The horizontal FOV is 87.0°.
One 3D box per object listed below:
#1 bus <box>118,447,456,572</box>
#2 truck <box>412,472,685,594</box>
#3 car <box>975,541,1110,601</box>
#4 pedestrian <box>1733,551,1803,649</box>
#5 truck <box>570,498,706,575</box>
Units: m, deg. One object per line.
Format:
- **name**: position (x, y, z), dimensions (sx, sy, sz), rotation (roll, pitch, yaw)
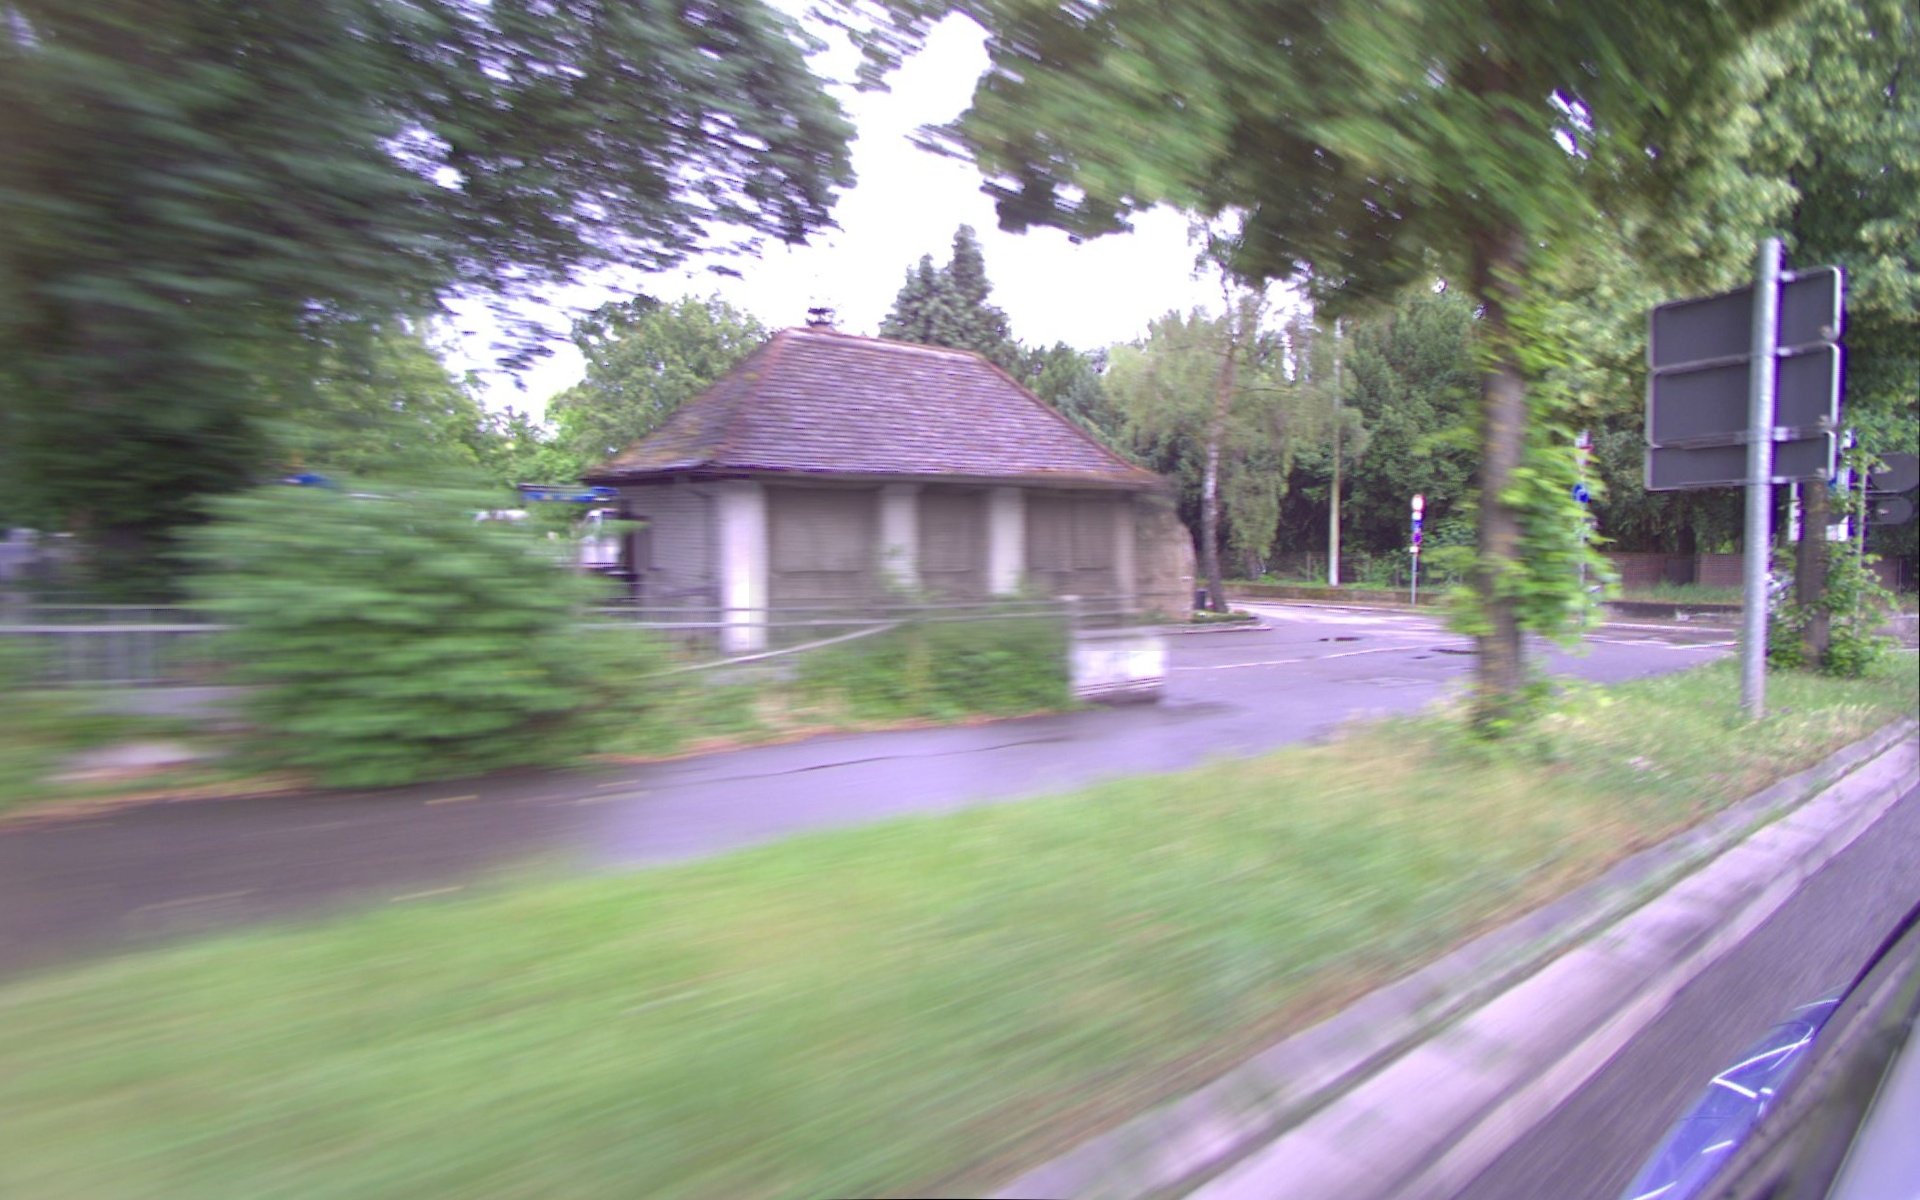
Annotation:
- **bus**: position (-17.160, -2.193, 26.267), dimensions (7.033, 2.734, 2.259), rotation (0, 2, -36)
- **truck**: position (-10.744, -1.712, 26.955), dimensions (6.466, 2.903, 2.065), rotation (1, 2, -17)
- **car**: position (2.479, -0.907, 30.998), dimensions (3.684, 1.597, 1.838), rotation (2, 3, -11)
- **pedestrian**: position (16.029, -0.015, 20.086), dimensions (0.723, 1.876, 0.858), rotation (1, 2, -36)
- **truck**: position (-10.783, -2.018, 33.660), dimensions (2.185, 2.208, 5.398), rotation (1, -1, -43)
